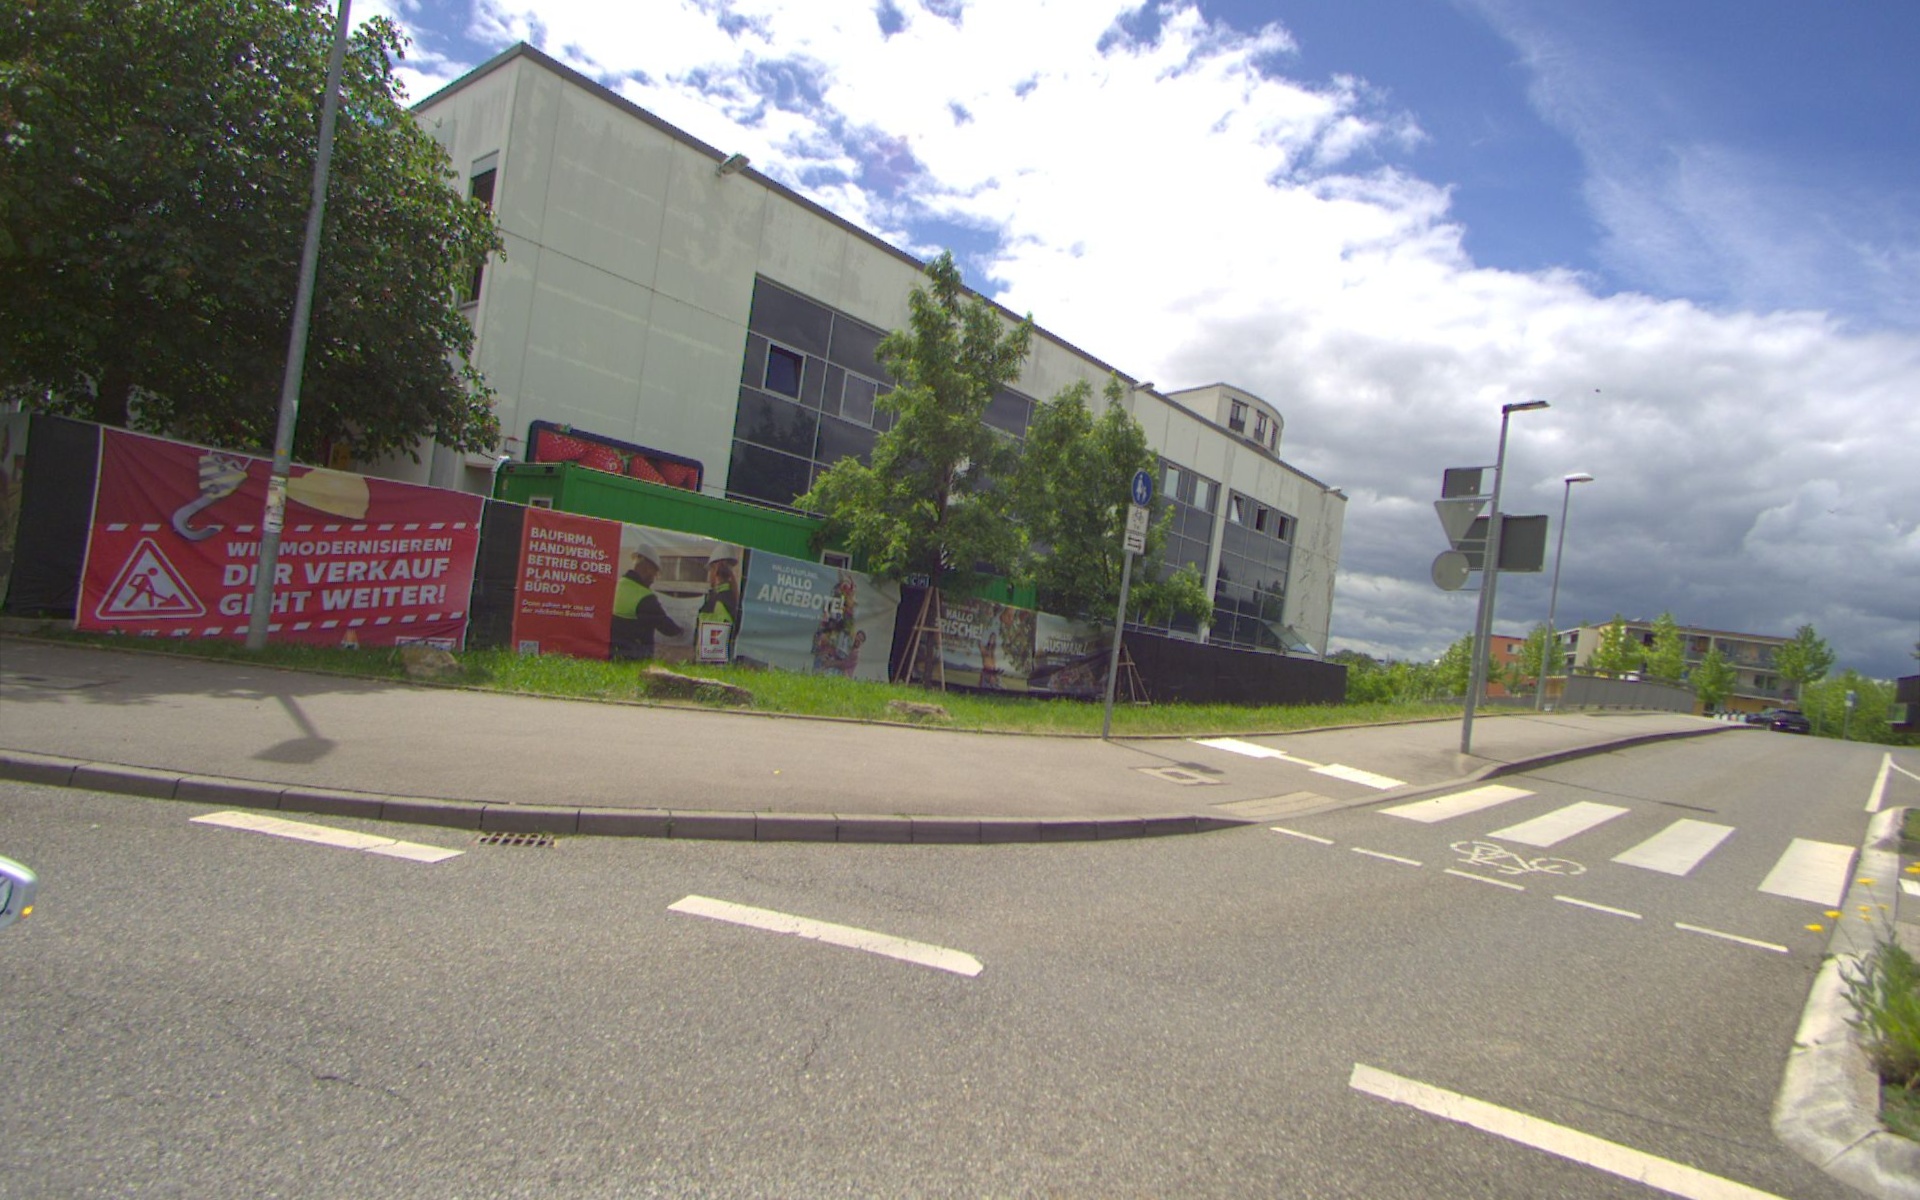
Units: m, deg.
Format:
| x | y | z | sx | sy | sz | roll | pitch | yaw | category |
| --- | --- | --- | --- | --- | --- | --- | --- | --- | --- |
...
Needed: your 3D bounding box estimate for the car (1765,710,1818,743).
| x | y | z | sx | sy | sz | roll | pitch | yaw | category |
| --- | --- | --- | --- | --- | --- | --- | --- | --- | --- |
| 48.579 | 7.405 | 58.841 | 1.883 | 1.468 | 3.994 | 8 | -3 | 35 | car |
